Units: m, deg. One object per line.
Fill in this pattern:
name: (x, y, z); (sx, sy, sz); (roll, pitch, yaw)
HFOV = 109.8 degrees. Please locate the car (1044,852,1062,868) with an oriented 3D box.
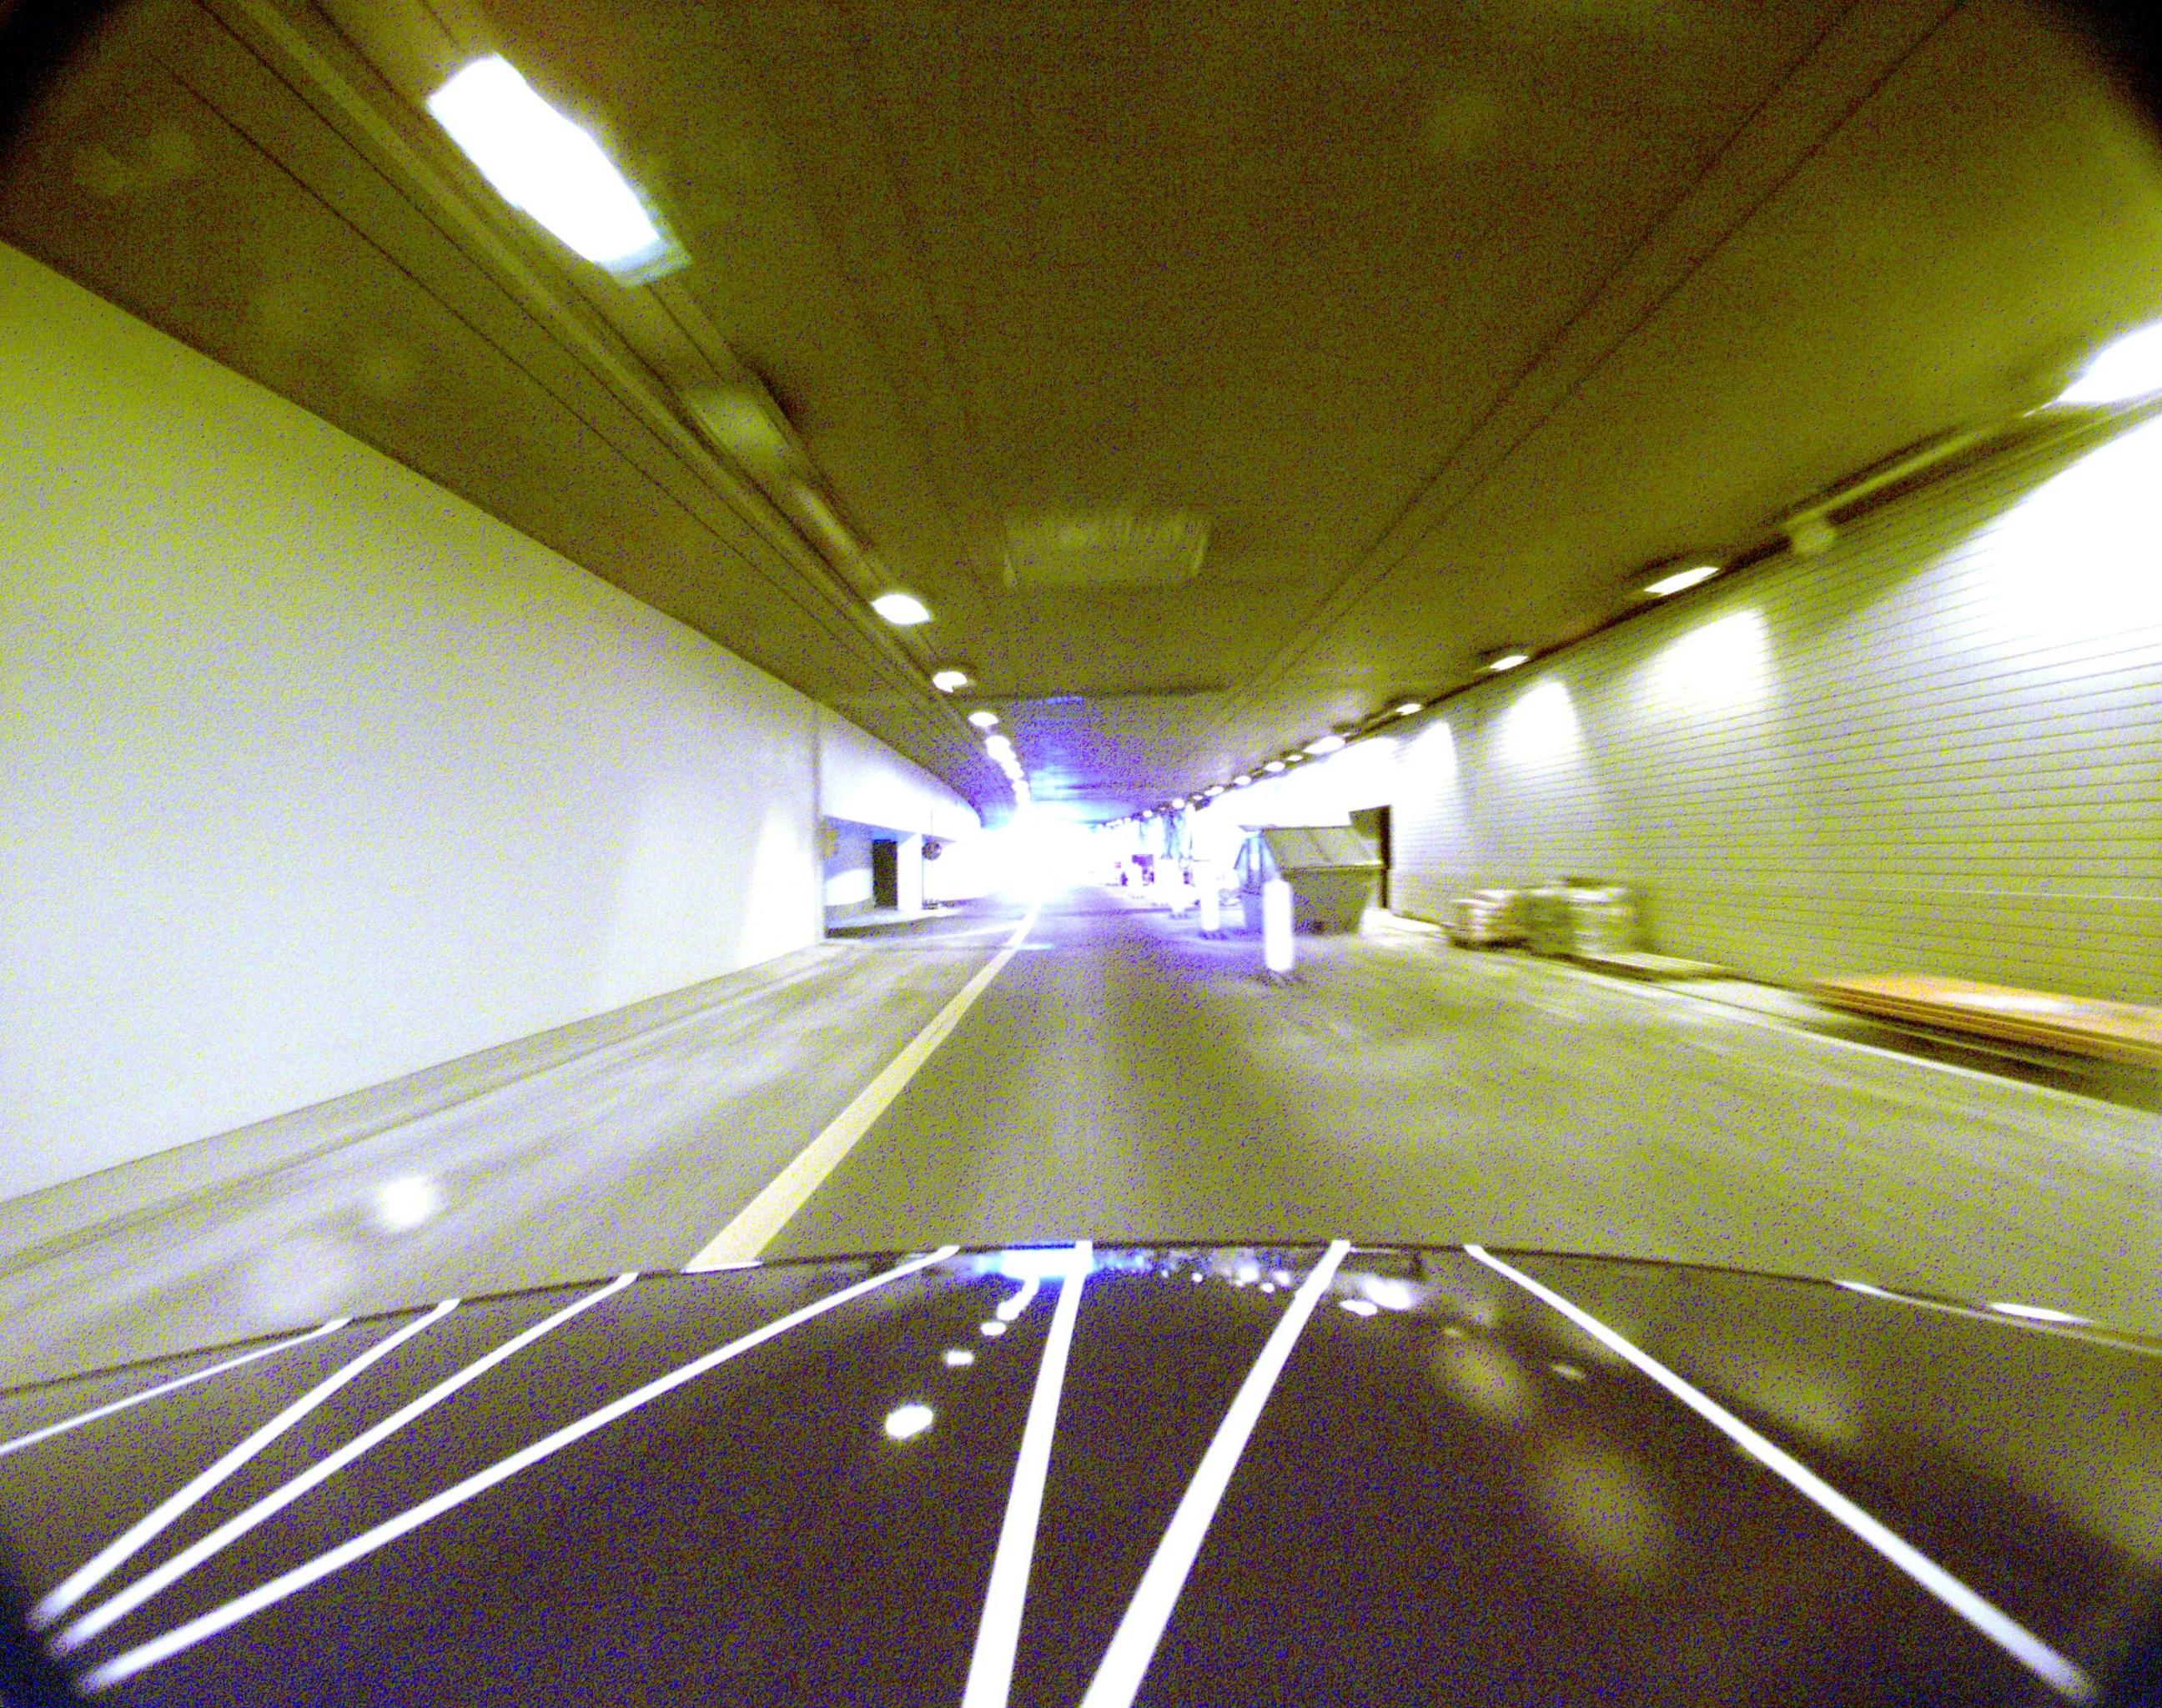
car: (-3.347, 0.702, 90.089); (1.999, 1.743, 3.998); (-2, 1, -5)

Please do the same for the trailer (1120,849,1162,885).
trailer: (3.131, 0.634, 40.202); (1.644, 1.781, 3.120); (-2, 1, -6)
